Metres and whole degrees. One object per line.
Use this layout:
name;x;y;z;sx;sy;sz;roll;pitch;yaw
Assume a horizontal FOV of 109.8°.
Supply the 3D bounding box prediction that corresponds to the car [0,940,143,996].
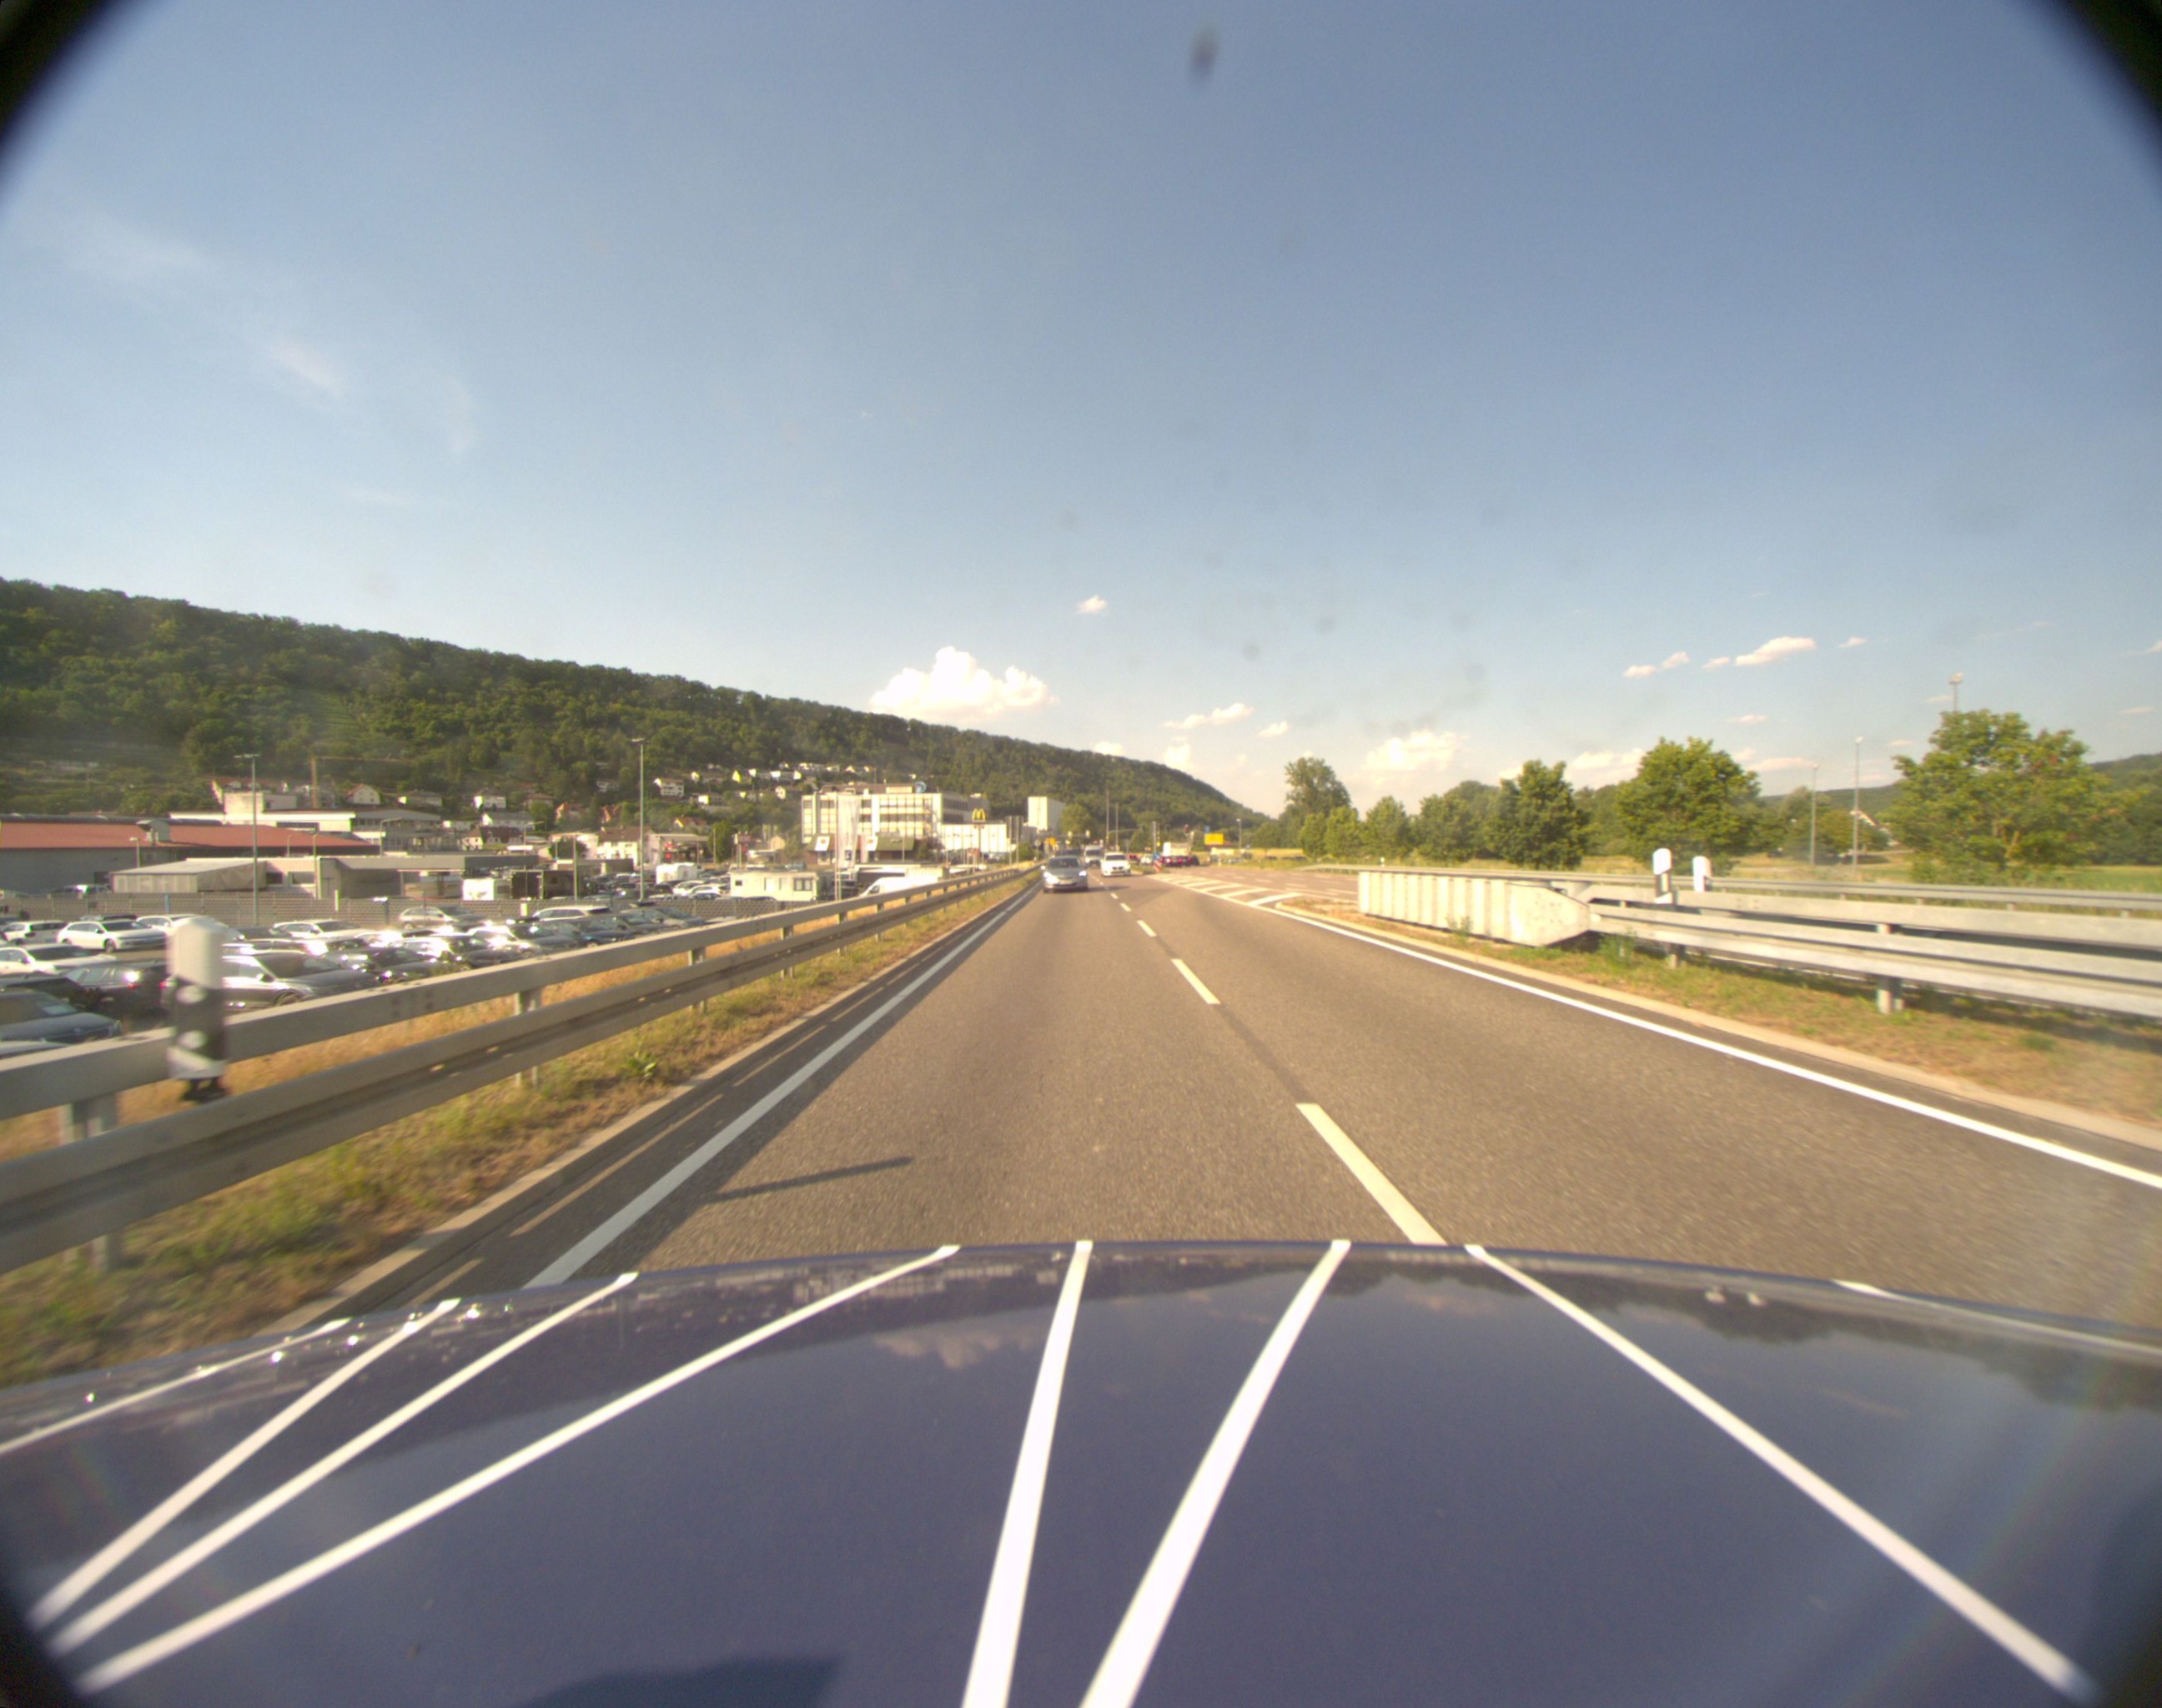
car;-34.733;3.840;25.645;4.426;1.534;1.801;-2;1;8

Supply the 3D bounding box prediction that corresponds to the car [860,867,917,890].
car;-16.923;2.130;66.850;4.332;1.740;2.131;-2;1;2

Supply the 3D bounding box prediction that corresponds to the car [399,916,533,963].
car;-26.076;3.607;32.285;4.426;1.704;1.801;-2;1;8

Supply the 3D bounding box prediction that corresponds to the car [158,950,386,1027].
car;-21.253;3.518;20.051;4.426;1.657;1.842;-2;1;8

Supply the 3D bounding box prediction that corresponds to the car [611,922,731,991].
car;-13.688;3.363;25.675;1.742;1.616;4.310;-2;1;-2

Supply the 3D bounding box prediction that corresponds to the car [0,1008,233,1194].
car;-13.410;3.140;8.843;1.885;1.616;4.727;-2;1;-4

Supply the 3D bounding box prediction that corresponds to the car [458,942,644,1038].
car;-13.511;3.398;19.755;1.741;1.616;4.311;-2;1;0

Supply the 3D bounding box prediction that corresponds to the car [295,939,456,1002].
car;-21.023;3.466;22.710;3.482;1.565;1.630;-2;1;8

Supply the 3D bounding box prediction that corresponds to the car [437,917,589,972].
car;-20.776;3.302;27.877;4.426;1.704;1.801;-2;1;8

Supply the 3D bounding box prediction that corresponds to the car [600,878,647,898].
car;-44.493;3.297;73.950;1.802;1.607;3.444;-2;1;24

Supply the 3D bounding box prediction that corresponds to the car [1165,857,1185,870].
car;10.940;1.054;88.592;1.719;1.455;4.726;1;0;0

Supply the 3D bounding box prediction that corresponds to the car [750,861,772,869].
car;-63.259;2.224;150.253;3.649;1.412;1.690;-2;1;6

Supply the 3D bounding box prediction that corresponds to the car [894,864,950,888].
car;-12.752;1.738;61.240;3.996;1.740;1.902;-2;1;2

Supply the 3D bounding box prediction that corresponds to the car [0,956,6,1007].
car;-35.062;4.005;22.880;3.482;1.565;1.630;-2;1;8

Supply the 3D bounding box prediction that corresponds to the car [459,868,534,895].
car;-38.465;1.761;50.140;1.600;1.534;3.892;-2;1;6

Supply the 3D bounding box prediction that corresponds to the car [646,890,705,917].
car;-28.175;3.429;52.929;1.600;1.555;3.892;-2;1;7

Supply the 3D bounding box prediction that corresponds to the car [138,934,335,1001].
car;-26.265;3.492;23.696;4.426;1.695;1.800;-1;5;8

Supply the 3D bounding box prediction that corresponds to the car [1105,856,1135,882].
car;2.534;0.957;50.693;1.825;1.551;4.000;-2;1;1

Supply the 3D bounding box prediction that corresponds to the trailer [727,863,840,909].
trailer;-24.363;2.567;62.482;7.896;3.303;3.359;-2;1;5

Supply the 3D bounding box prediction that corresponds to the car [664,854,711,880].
car;-41.549;1.352;80.391;1.759;2.535;5.470;-2;1;4

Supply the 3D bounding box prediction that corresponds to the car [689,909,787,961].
car;-13.836;3.223;30.947;1.799;1.534;4.433;-2;1;2

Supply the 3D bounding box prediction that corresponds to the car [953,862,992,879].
car;-12.367;1.882;86.755;3.996;1.805;1.835;-2;1;2

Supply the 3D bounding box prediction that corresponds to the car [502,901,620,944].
car;-24.339;3.197;35.610;4.426;1.704;1.801;-2;1;8

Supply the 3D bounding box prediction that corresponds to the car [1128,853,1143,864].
car;7.366;0.608;103.524;1.785;1.511;3.999;1;1;0

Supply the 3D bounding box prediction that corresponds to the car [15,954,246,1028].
car;-25.985;3.729;20.845;4.433;1.627;1.887;-2;1;8

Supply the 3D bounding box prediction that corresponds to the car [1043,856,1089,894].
car;-0.558;0.794;30.947;1.690;1.383;3.883;-1;1;1

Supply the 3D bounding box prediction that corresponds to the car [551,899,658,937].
car;-24.003;3.201;38.332;4.426;1.704;1.801;-1;1;8

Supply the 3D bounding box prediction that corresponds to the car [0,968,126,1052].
car;-26.574;3.793;18.618;4.433;1.627;1.887;-2;1;8

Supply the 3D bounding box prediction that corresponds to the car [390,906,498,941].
car;-33.611;3.650;40.136;4.426;1.534;1.801;-2;1;8

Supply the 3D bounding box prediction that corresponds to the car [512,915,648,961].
car;-20.043;3.341;30.482;4.426;1.534;1.801;-2;1;8

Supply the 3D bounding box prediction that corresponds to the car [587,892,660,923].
car;-29.076;3.370;48.442;1.600;1.585;4.287;-2;1;7

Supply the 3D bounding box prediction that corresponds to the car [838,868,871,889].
car;-24.606;2.634;82.709;1.759;1.941;4.828;-2;1;4

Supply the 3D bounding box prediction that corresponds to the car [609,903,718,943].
car;-19.185;3.172;35.008;3.981;1.534;1.787;-2;1;4

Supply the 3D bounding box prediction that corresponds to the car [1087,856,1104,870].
car;1.585;0.930;82.748;1.690;1.383;3.883;-1;1;1

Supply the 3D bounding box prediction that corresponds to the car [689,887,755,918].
car;-24.878;3.333;52.801;1.970;1.691;4.498;-2;1;7

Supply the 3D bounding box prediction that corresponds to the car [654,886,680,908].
car;-35.798;3.697;65.815;1.683;1.561;3.768;-3;1;-25

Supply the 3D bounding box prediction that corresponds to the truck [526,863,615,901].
truck;-36.880;1.955;55.111;1.998;2.357;5.970;-2;1;4

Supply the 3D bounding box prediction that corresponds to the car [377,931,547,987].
car;-20.598;3.485;25.367;4.426;1.534;1.801;-2;1;8

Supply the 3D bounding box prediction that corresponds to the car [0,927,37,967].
car;-46.696;3.959;31.844;4.338;1.534;1.802;-2;1;12

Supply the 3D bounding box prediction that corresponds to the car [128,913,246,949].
car;-45.632;3.920;38.822;4.339;1.534;1.801;-2;1;8

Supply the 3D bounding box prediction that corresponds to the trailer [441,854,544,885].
trailer;-42.362;1.059;54.980;1.998;2.011;6.285;-2;1;6

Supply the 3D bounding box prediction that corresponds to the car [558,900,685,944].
car;-19.879;2.919;32.938;4.433;1.627;1.887;-2;1;8

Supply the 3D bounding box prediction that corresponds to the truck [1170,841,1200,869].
truck;14.446;0.066;106.443;2.940;3.669;10.498;2;1;1

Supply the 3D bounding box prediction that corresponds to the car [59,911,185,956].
car;-45.801;3.785;36.331;3.994;1.849;1.927;-2;1;8

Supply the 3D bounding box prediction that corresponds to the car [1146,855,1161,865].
car;10.679;0.831;112.124;1.706;1.397;5.080;0;1;-1

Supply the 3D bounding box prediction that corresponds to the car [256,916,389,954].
car;-33.462;3.545;33.555;4.426;1.361;1.801;-2;1;8

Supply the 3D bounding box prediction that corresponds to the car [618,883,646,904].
car;-39.693;3.448;67.186;1.683;1.561;3.768;-3;1;-25

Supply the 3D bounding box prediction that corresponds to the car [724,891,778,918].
car;-22.737;3.476;52.510;1.600;1.503;3.867;-2;1;7

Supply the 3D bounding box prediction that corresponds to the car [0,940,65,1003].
car;-39.383;4.229;27.362;3.992;2.002;2.002;-2;1;16

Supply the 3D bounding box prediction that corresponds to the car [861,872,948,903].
car;-13.036;2.484;56.329;5.895;2.002;2.000;-2;1;3

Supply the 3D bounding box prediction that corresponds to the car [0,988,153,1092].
car;-21.424;3.630;15.050;4.426;1.597;1.802;-2;-1;8

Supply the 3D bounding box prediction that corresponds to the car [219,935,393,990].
car;-26.281;3.669;25.824;4.426;1.534;1.801;-2;1;8

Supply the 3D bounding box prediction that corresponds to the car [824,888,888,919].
car;-17.318;3.770;58.526;4.576;2.002;1.898;-2;1;-19

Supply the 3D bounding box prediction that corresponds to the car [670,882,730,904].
car;-31.254;3.205;62.410;3.996;1.648;1.805;0;1;4

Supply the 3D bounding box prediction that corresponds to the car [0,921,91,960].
car;-51.220;4.212;37.095;3.959;1.631;1.758;-2;1;8

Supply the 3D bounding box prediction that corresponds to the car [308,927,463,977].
car;-25.938;3.646;28.406;4.426;1.534;1.801;-2;1;8
